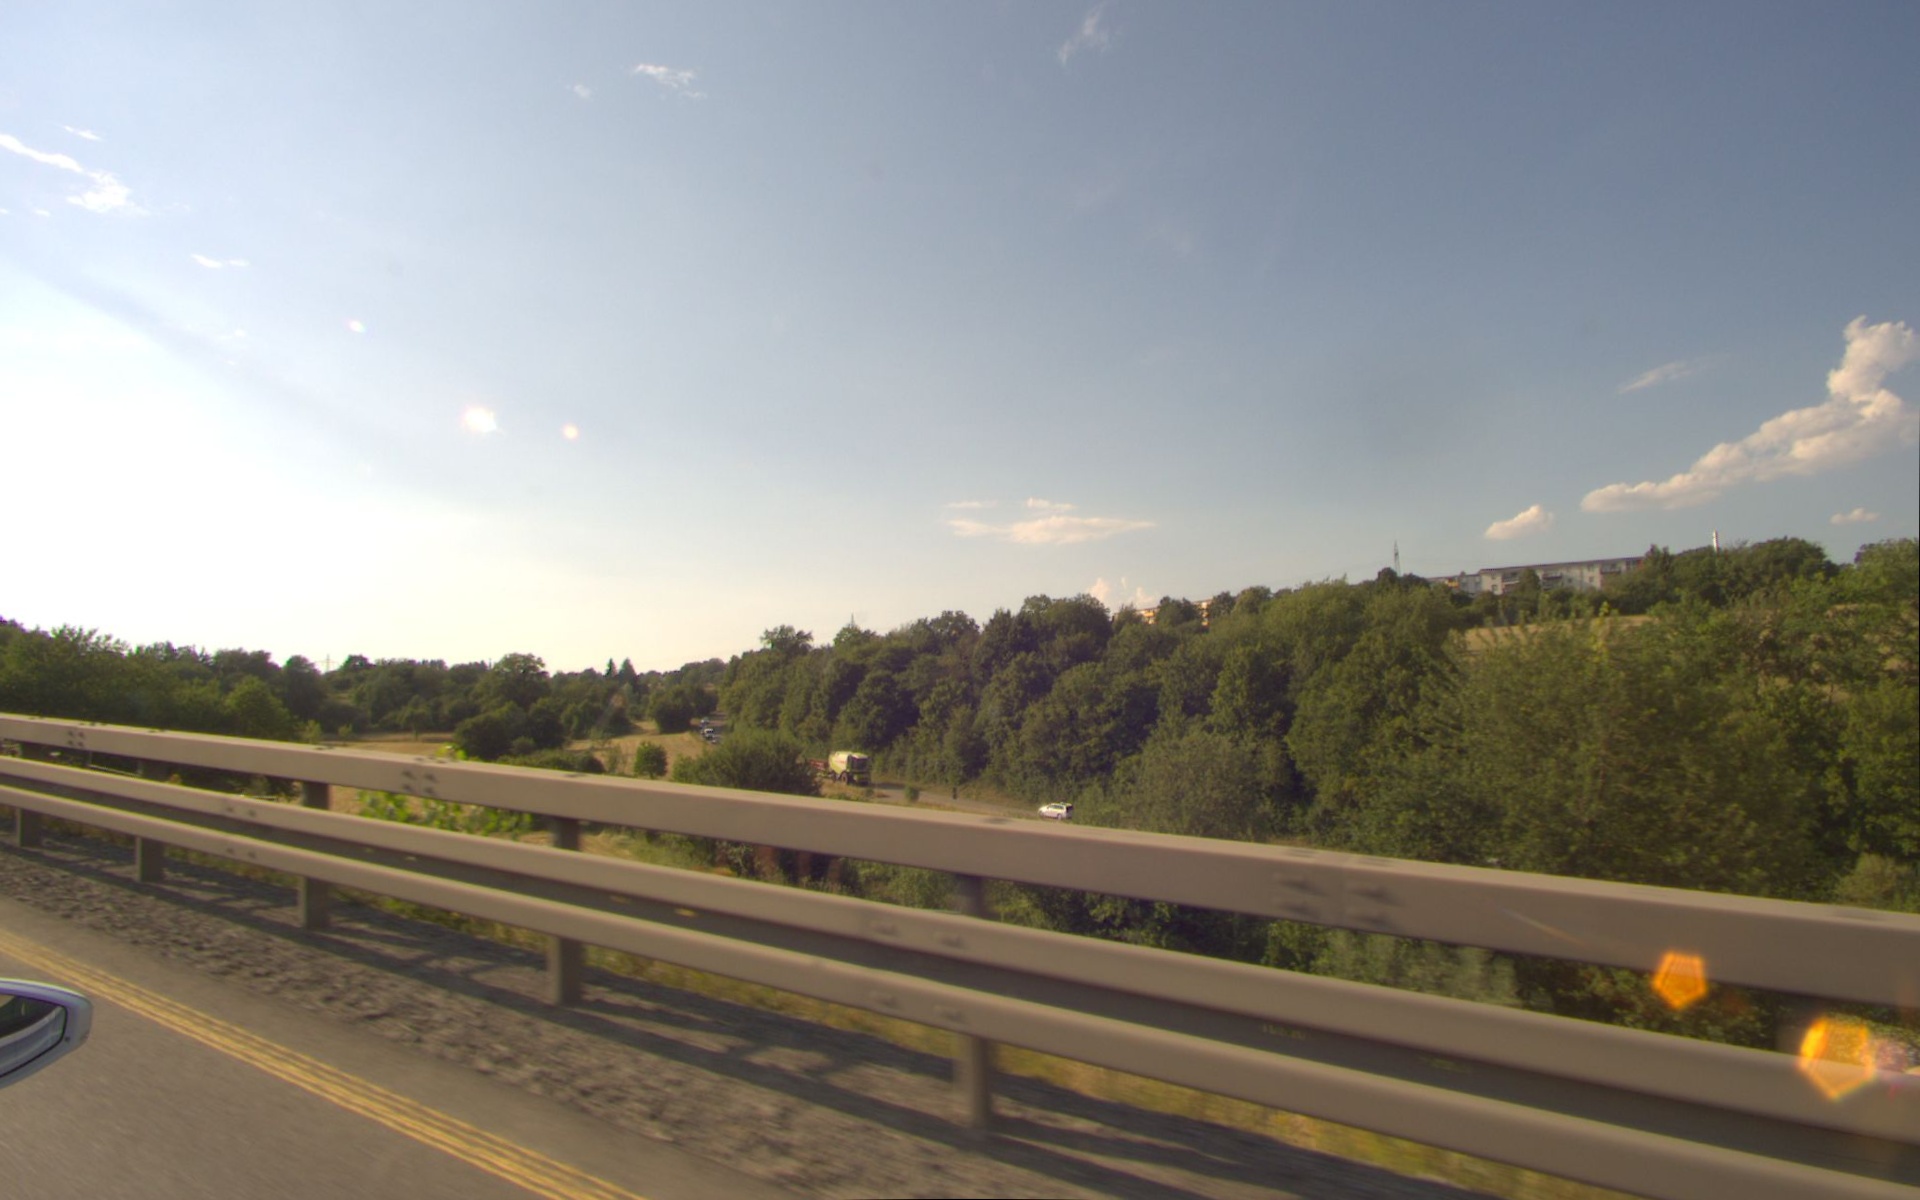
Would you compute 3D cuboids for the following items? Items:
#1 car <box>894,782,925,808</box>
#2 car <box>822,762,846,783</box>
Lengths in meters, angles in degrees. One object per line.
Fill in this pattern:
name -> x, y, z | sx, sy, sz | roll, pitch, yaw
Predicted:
car -> -5.483, 20.956, 107.914 | 1.853, 2.039, 3.985 | 0, -2, -26
car -> -16.412, 22.444, 130.333 | 1.853, 2.039, 3.985 | 0, -2, -26
